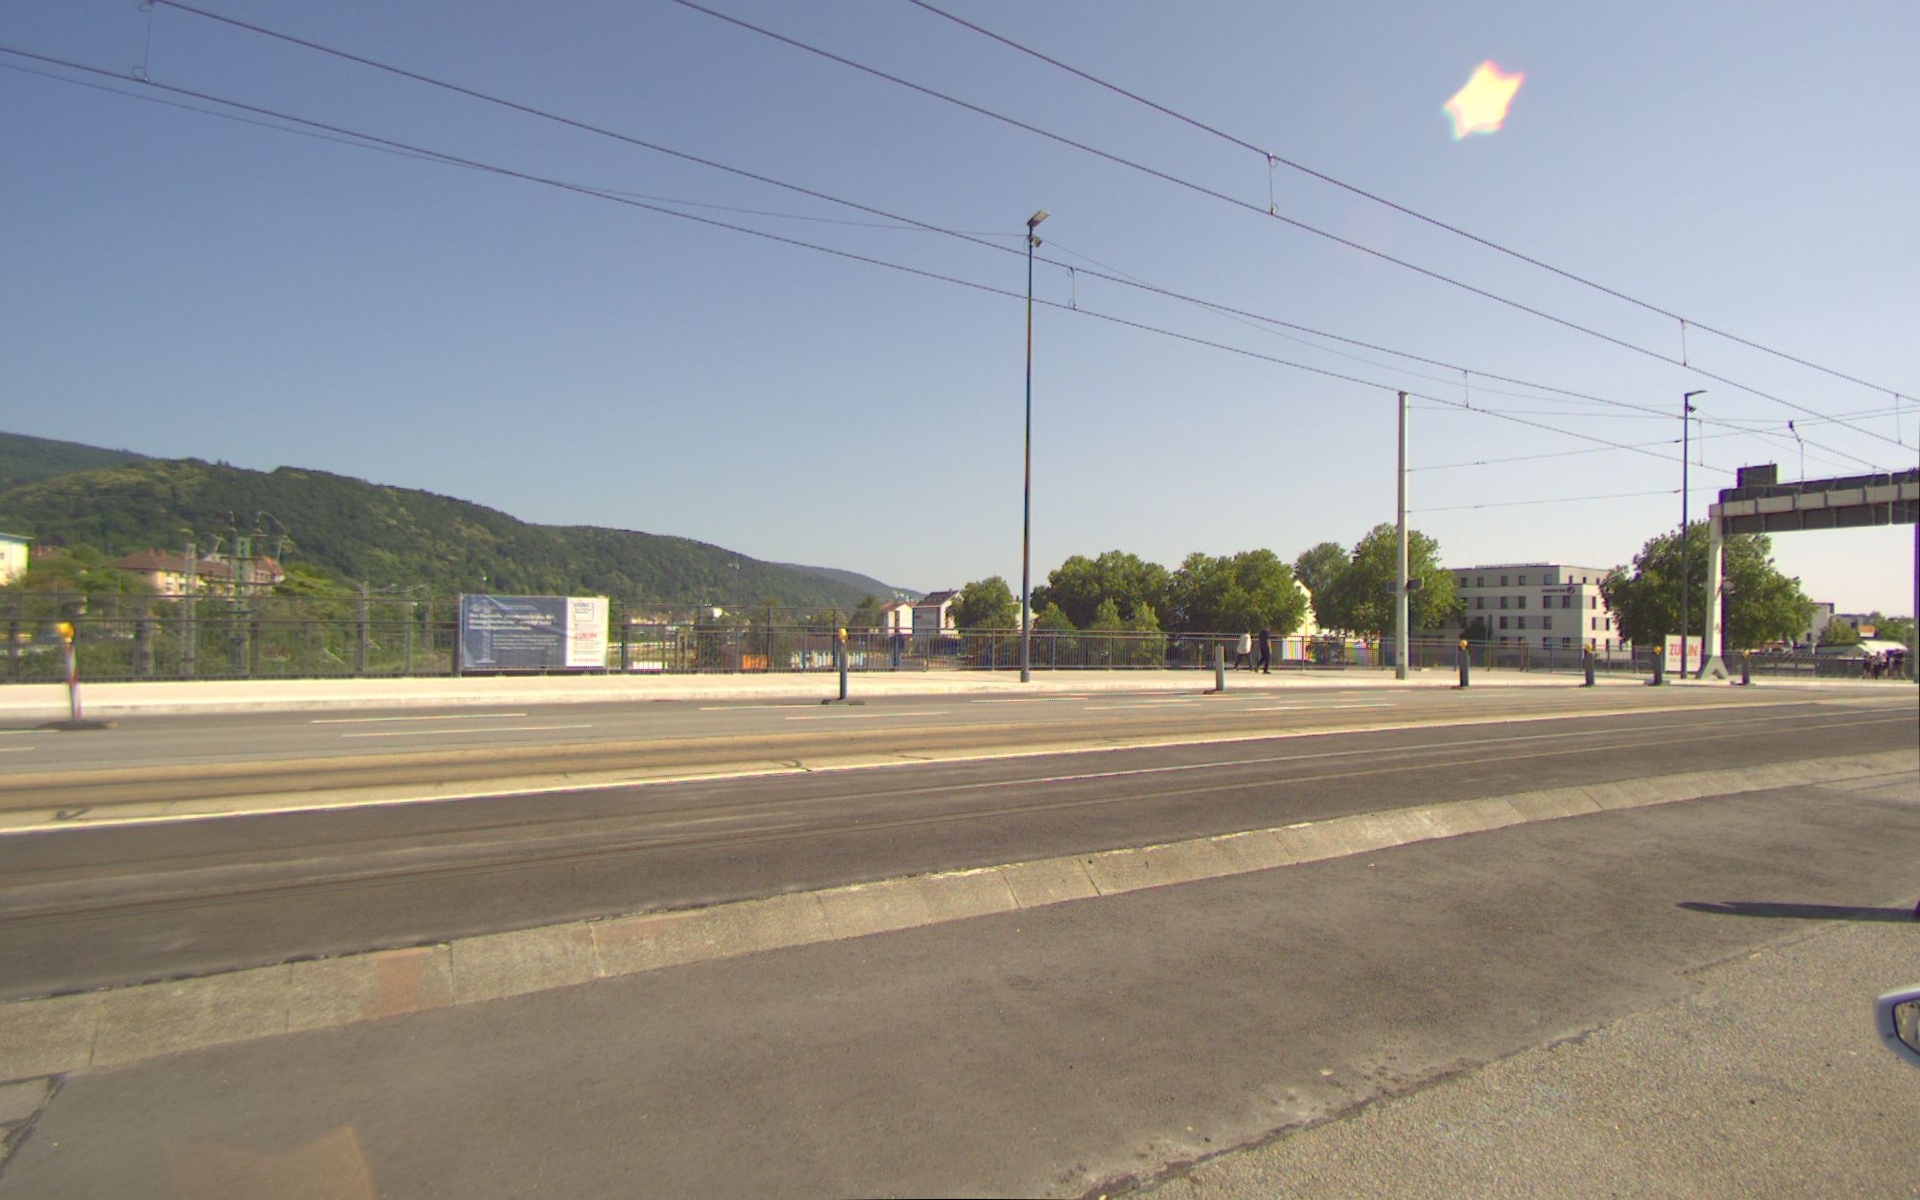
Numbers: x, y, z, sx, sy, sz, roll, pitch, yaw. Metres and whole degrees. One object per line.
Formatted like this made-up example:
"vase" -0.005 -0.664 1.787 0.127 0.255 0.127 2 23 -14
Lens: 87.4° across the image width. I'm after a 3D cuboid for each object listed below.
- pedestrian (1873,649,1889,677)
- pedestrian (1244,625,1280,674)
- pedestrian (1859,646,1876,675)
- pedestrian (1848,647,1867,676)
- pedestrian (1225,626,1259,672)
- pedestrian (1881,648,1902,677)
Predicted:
"pedestrian" 56.469 3.870 61.571 0.763 1.709 0.502 2 -2 -26
"pedestrian" 10.530 1.723 35.034 0.884 1.663 0.740 2 1 -30
"pedestrian" 53.826 3.572 59.594 0.797 1.709 0.484 2 -2 -26
"pedestrian" 53.809 3.685 60.223 0.807 1.709 0.595 2 -2 -26
"pedestrian" 10.089 1.739 35.892 0.878 1.565 0.716 2 1 -30
"pedestrian" 56.015 3.737 60.398 0.722 1.709 0.750 2 -2 -26
